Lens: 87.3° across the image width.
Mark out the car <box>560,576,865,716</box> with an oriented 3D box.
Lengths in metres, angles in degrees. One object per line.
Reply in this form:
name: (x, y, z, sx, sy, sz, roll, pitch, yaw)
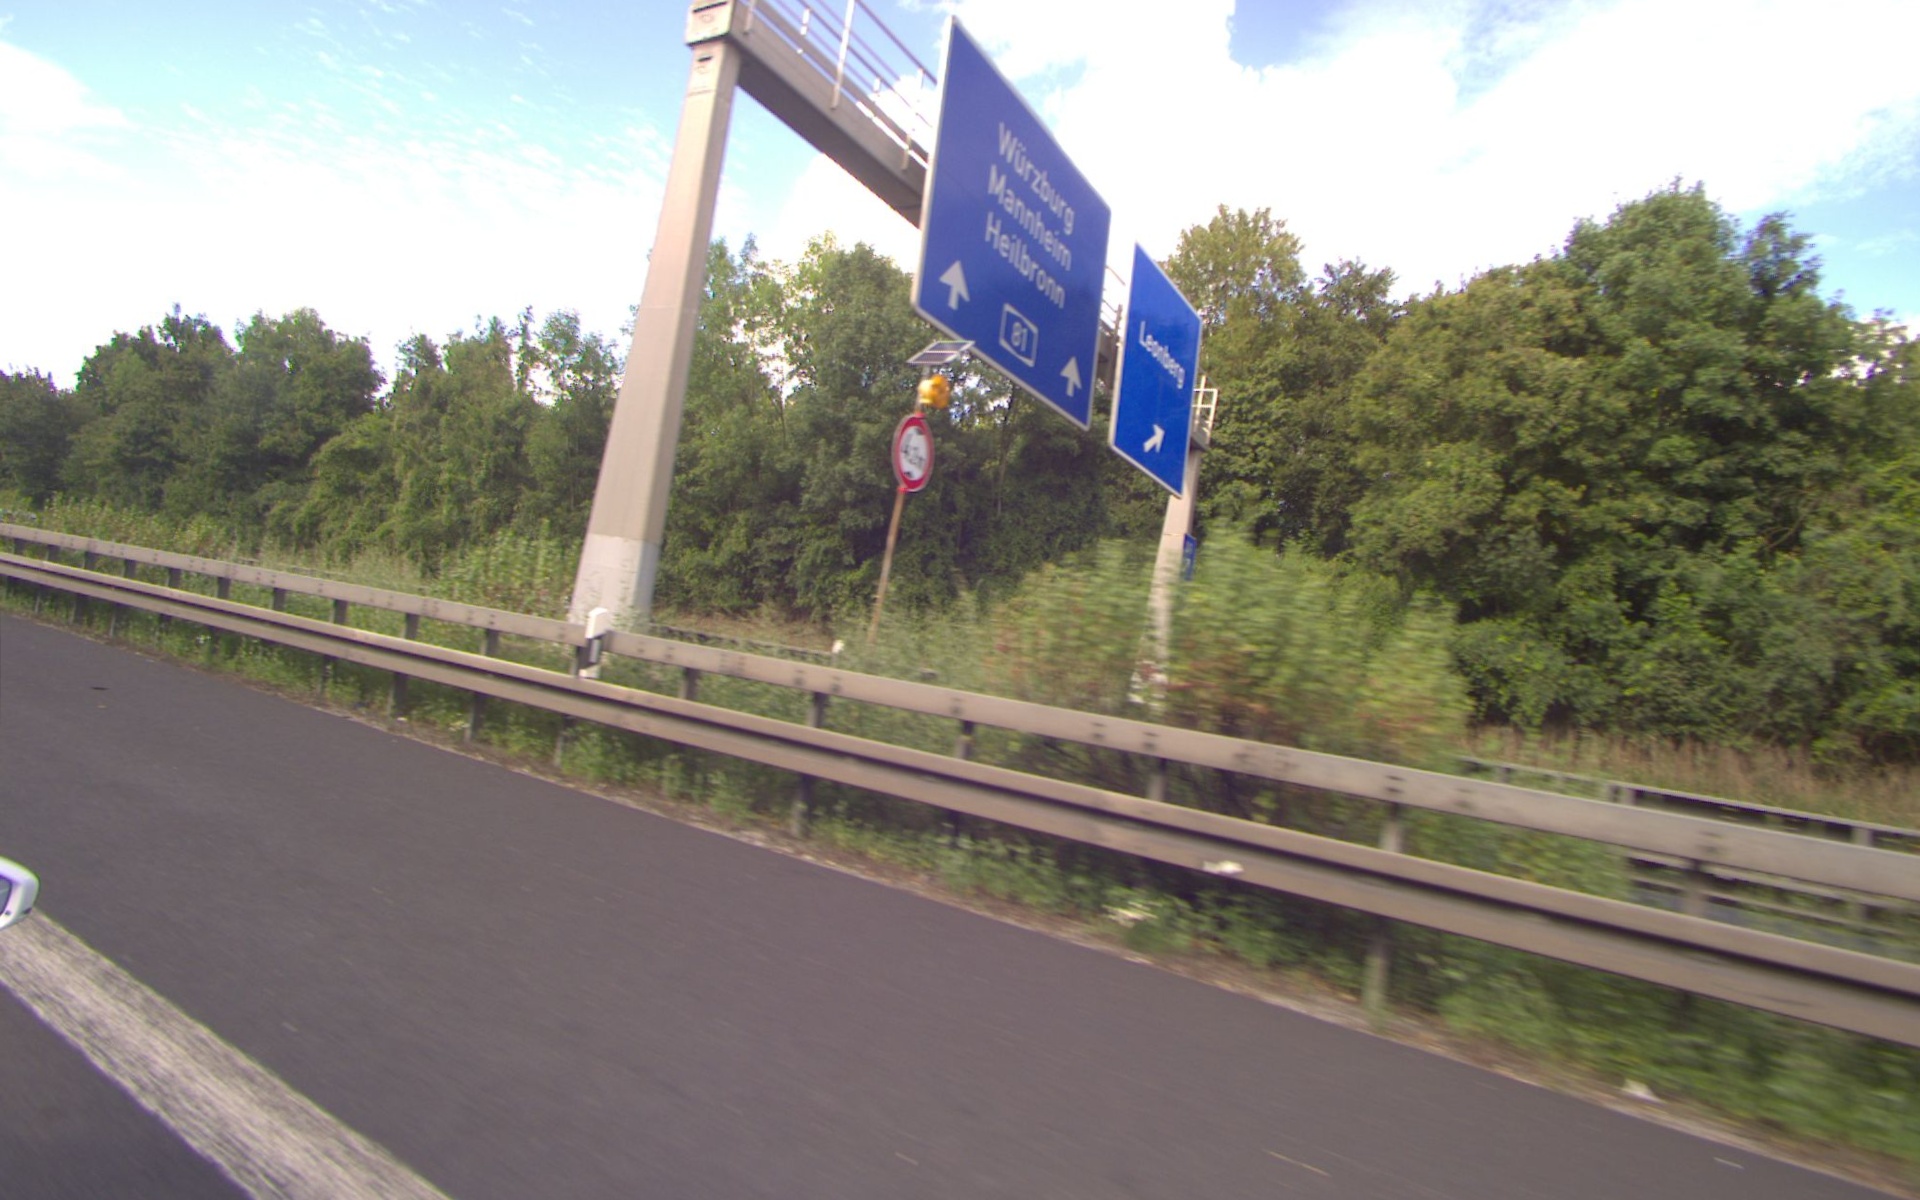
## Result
car: (-4.026, 0.715, 16.186, 4.595, 1.536, 1.789, 7, -2, 28)
